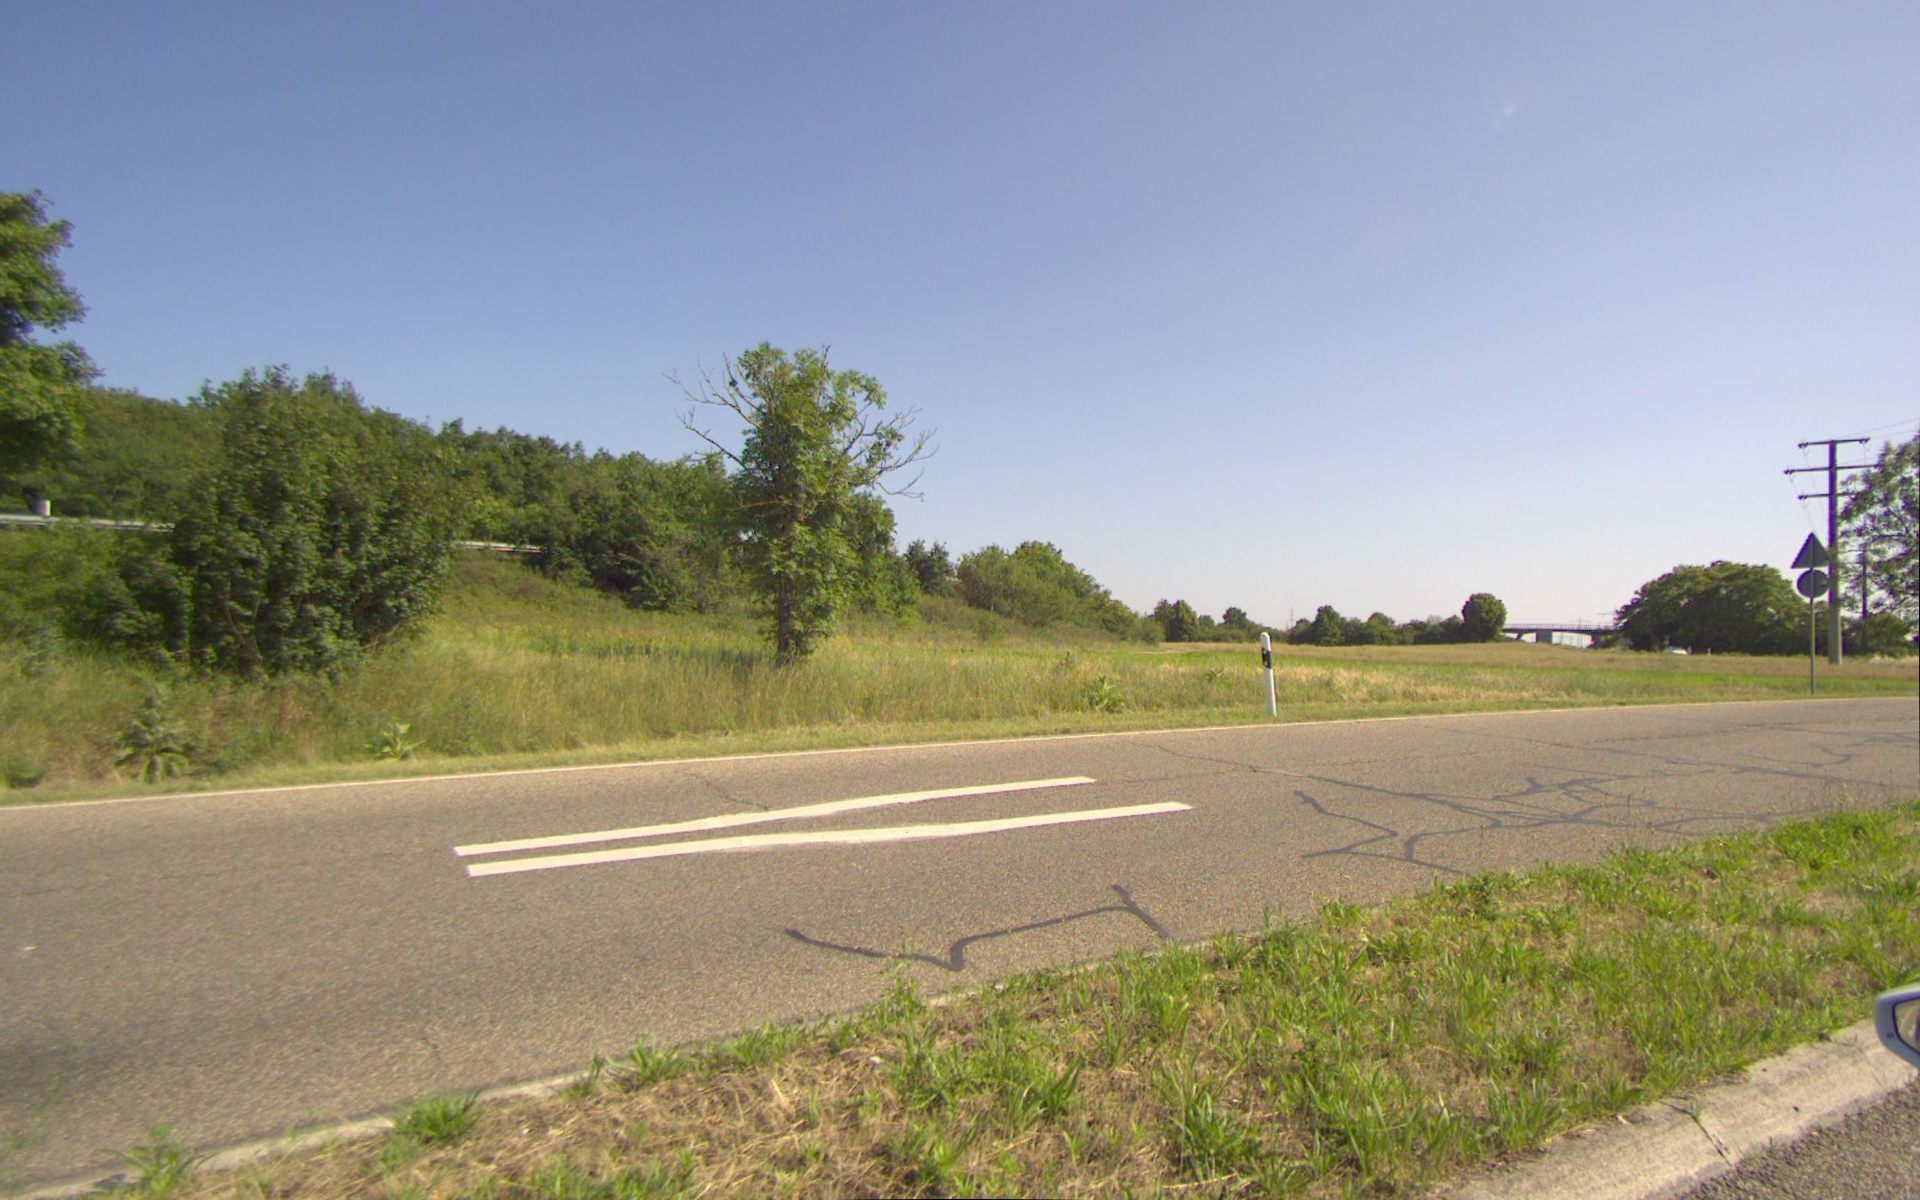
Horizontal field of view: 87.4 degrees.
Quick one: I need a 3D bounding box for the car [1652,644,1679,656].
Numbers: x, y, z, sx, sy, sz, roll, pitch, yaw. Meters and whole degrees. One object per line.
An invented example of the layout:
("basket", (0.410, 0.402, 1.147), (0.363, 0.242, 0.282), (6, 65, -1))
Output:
("car", (105.822, 7.508, 150.663), (1.783, 1.673, 4.764), (2, -1, 15))
